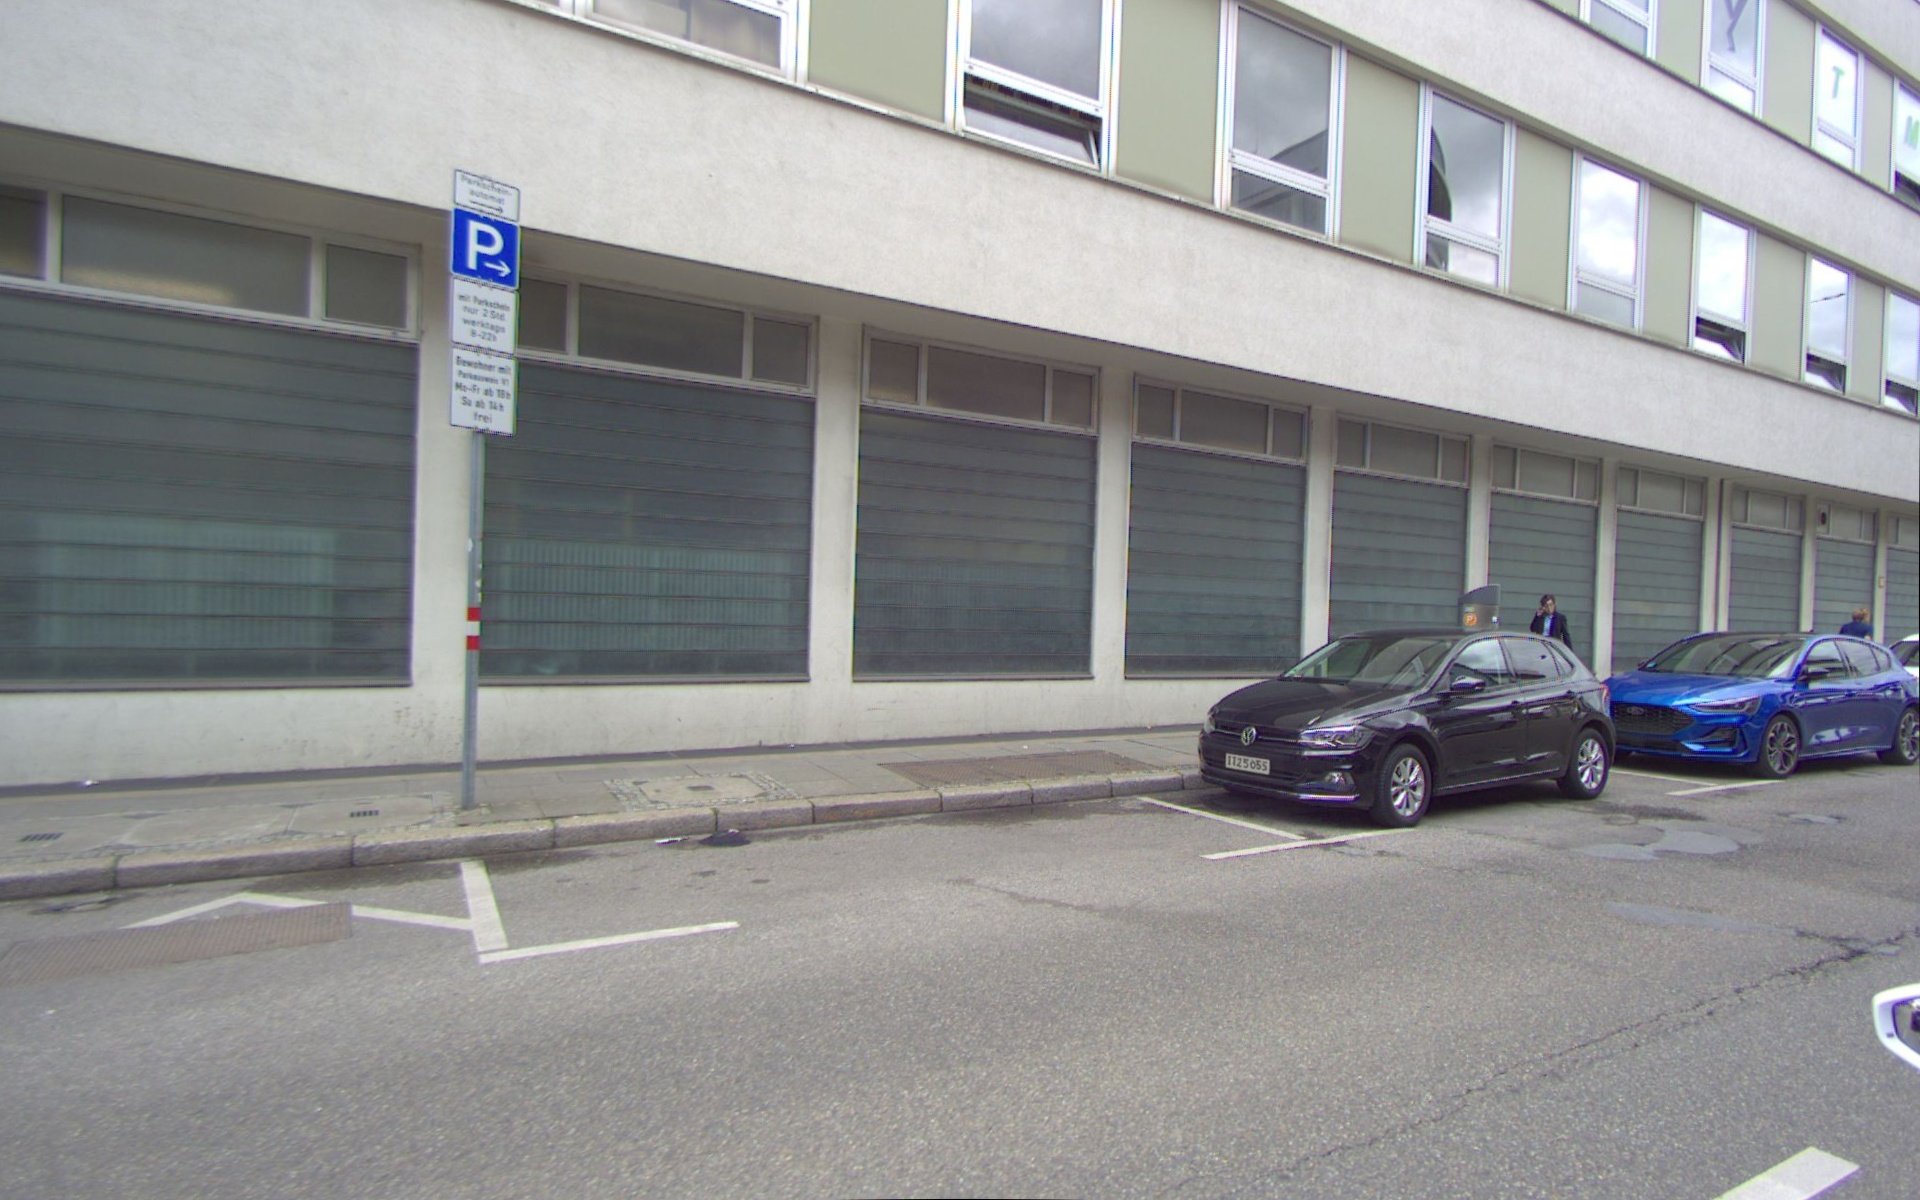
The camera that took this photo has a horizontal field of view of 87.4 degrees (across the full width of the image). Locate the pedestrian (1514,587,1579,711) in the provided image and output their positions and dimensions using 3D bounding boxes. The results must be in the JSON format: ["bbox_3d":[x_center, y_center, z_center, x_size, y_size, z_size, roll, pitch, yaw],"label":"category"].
[{"bbox_3d":[8.482,0.691,14.525,0.644,1.741,0.585,1,0,-37],"label":"pedestrian"}]

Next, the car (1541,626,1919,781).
[{"bbox_3d":[8.673,1.037,11.184,4.208,1.444,1.809,1,-1,-26],"label":"car"}]

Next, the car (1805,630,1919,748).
[{"bbox_3d":[13.792,1.166,13.876,4.494,1.453,1.664,1,-1,-27],"label":"car"}]

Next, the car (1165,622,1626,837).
[{"bbox_3d":[3.749,0.928,8.505,3.826,1.444,1.708,1,-1,-31],"label":"car"}]

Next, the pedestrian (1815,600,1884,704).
[{"bbox_3d":[15.404,0.893,17.389,1.043,1.741,0.586,1,0,-31],"label":"pedestrian"}]
